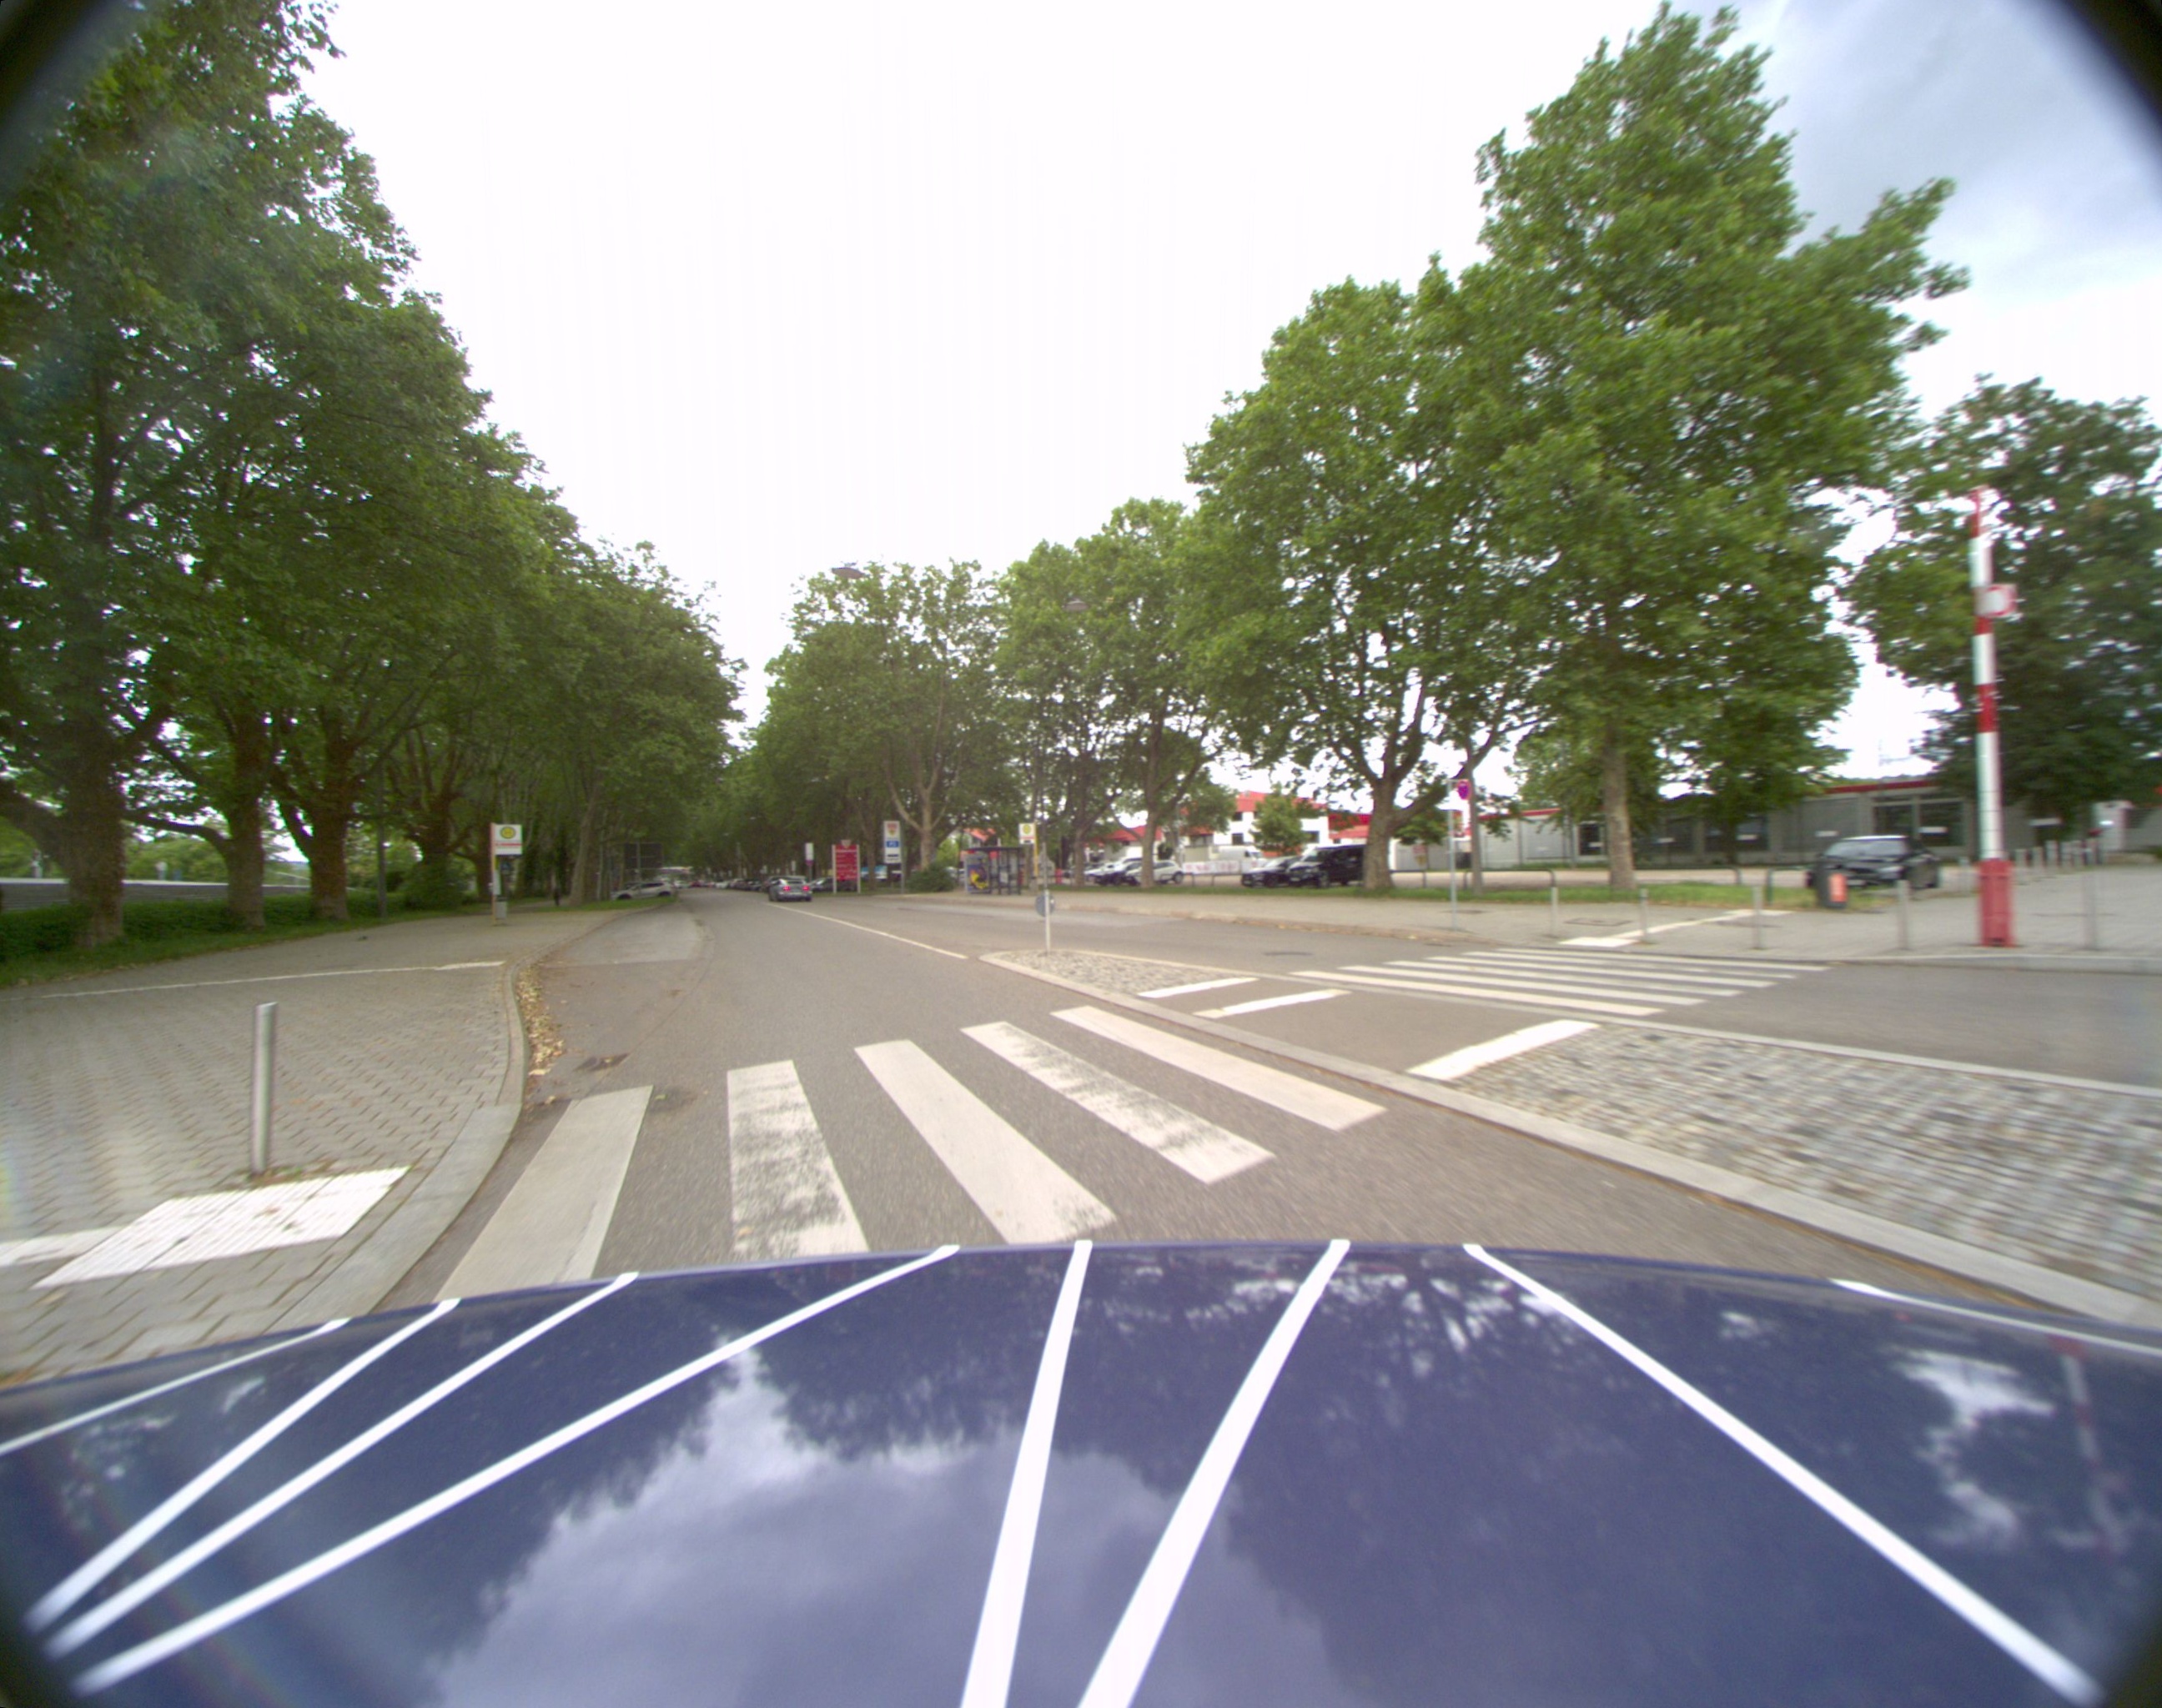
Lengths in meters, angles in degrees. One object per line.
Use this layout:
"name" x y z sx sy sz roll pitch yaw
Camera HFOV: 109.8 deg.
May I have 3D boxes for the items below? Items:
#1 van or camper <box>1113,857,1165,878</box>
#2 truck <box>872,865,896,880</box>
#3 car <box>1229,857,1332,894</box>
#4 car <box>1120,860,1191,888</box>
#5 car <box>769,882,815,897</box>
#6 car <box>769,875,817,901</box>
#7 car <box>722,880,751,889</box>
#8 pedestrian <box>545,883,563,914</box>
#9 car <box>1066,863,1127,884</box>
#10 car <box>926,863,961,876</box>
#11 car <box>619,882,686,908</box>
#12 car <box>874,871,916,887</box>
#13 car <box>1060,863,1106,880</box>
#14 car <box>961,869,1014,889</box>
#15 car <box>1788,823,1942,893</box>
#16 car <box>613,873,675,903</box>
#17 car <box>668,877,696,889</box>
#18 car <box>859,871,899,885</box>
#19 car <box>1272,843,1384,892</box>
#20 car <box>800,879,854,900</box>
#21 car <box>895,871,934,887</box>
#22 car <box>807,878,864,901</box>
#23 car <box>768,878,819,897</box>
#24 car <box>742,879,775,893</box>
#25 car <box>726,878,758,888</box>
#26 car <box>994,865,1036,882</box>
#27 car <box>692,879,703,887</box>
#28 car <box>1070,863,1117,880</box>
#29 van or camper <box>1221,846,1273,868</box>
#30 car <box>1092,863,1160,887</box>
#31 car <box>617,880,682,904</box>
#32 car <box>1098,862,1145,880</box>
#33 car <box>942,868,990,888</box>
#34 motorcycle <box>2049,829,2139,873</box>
"van or camper" 5.429 1.260 71.482 4.341 1.699 2.127 -3 0 -29
"truck" -40.051 3.722 154.334 4.006 2.701 2.371 -3 0 -30
"car" 9.960 1.012 37.893 4.647 1.558 2.104 -3 1 -26
"car" 4.735 1.244 48.289 4.005 1.513 1.997 -3 0 -28
"car" -28.613 3.488 75.248 4.149 1.443 2.009 1 -3 -27
"car" -17.734 2.074 46.628 1.910 1.444 4.804 0 -2 -31
"car" -59.729 5.319 131.822 4.429 1.415 1.772 0 -2 -30
"pedestrian" -35.210 2.948 50.777 0.789 2.002 0.597 -3 0 -45
"car" 1.228 1.629 63.857 4.975 1.543 2.100 -3 0 -2
"car" -21.550 2.385 119.194 4.965 1.786 2.178 -3 0 -31
"car" -33.105 3.136 58.797 4.366 1.623 1.922 -3 -1 -28
"car" -24.845 3.321 101.340 4.965 1.786 2.178 -2 -1 -31
"car" 0.207 1.786 79.507 4.341 1.539 1.955 -3 0 -29
"car" -8.714 2.320 71.121 4.341 1.539 2.199 -3 0 -29
"car" 20.025 0.095 19.381 4.007 1.596 2.227 -1 -1 -37
"car" -33.461 2.571 58.300 4.005 2.001 1.996 -3 -1 -28
"car" -72.925 5.276 138.815 1.995 2.001 4.008 -3 -1 31
"car" -28.741 3.378 108.036 4.965 1.786 2.178 -3 0 -31
"car" 11.498 0.613 35.371 4.637 2.013 2.258 -3 0 -26
"car" -21.638 3.005 64.662 4.012 1.485 1.828 -3 0 -29
"car" -20.870 3.121 95.173 4.341 1.850 2.024 -3 0 -29
"car" -19.483 2.767 60.221 4.012 1.531 1.801 -3 0 -27
"car" -27.791 3.225 73.414 4.338 1.799 1.864 0 -2 -28
"car" -43.095 4.262 101.506 3.950 1.697 1.748 0 -2 -30
"car" -47.926 4.100 107.479 4.013 1.412 1.700 0 -2 -30
"car" -8.267 2.405 94.997 4.598 1.844 2.292 -3 0 -24
"car" -78.181 5.867 154.864 1.851 1.501 4.006 -3 0 -30
"car" 1.254 1.798 77.437 4.341 1.539 1.955 -3 0 -29
"van or camper" 16.629 0.320 76.287 2.003 2.002 5.291 -3 0 -29
"car" 2.982 1.380 50.439 4.005 1.316 1.997 -3 0 -29
"car" -34.560 3.052 60.989 4.366 1.595 1.922 -3 -1 -28
"car" 3.938 1.638 73.399 4.237 1.539 1.786 -3 0 -30
"car" -11.751 2.443 77.738 4.341 1.699 2.127 -3 0 -29
"motorcycle" 31.845 -0.093 23.867 3.676 1.215 0.772 -3 0 -22
